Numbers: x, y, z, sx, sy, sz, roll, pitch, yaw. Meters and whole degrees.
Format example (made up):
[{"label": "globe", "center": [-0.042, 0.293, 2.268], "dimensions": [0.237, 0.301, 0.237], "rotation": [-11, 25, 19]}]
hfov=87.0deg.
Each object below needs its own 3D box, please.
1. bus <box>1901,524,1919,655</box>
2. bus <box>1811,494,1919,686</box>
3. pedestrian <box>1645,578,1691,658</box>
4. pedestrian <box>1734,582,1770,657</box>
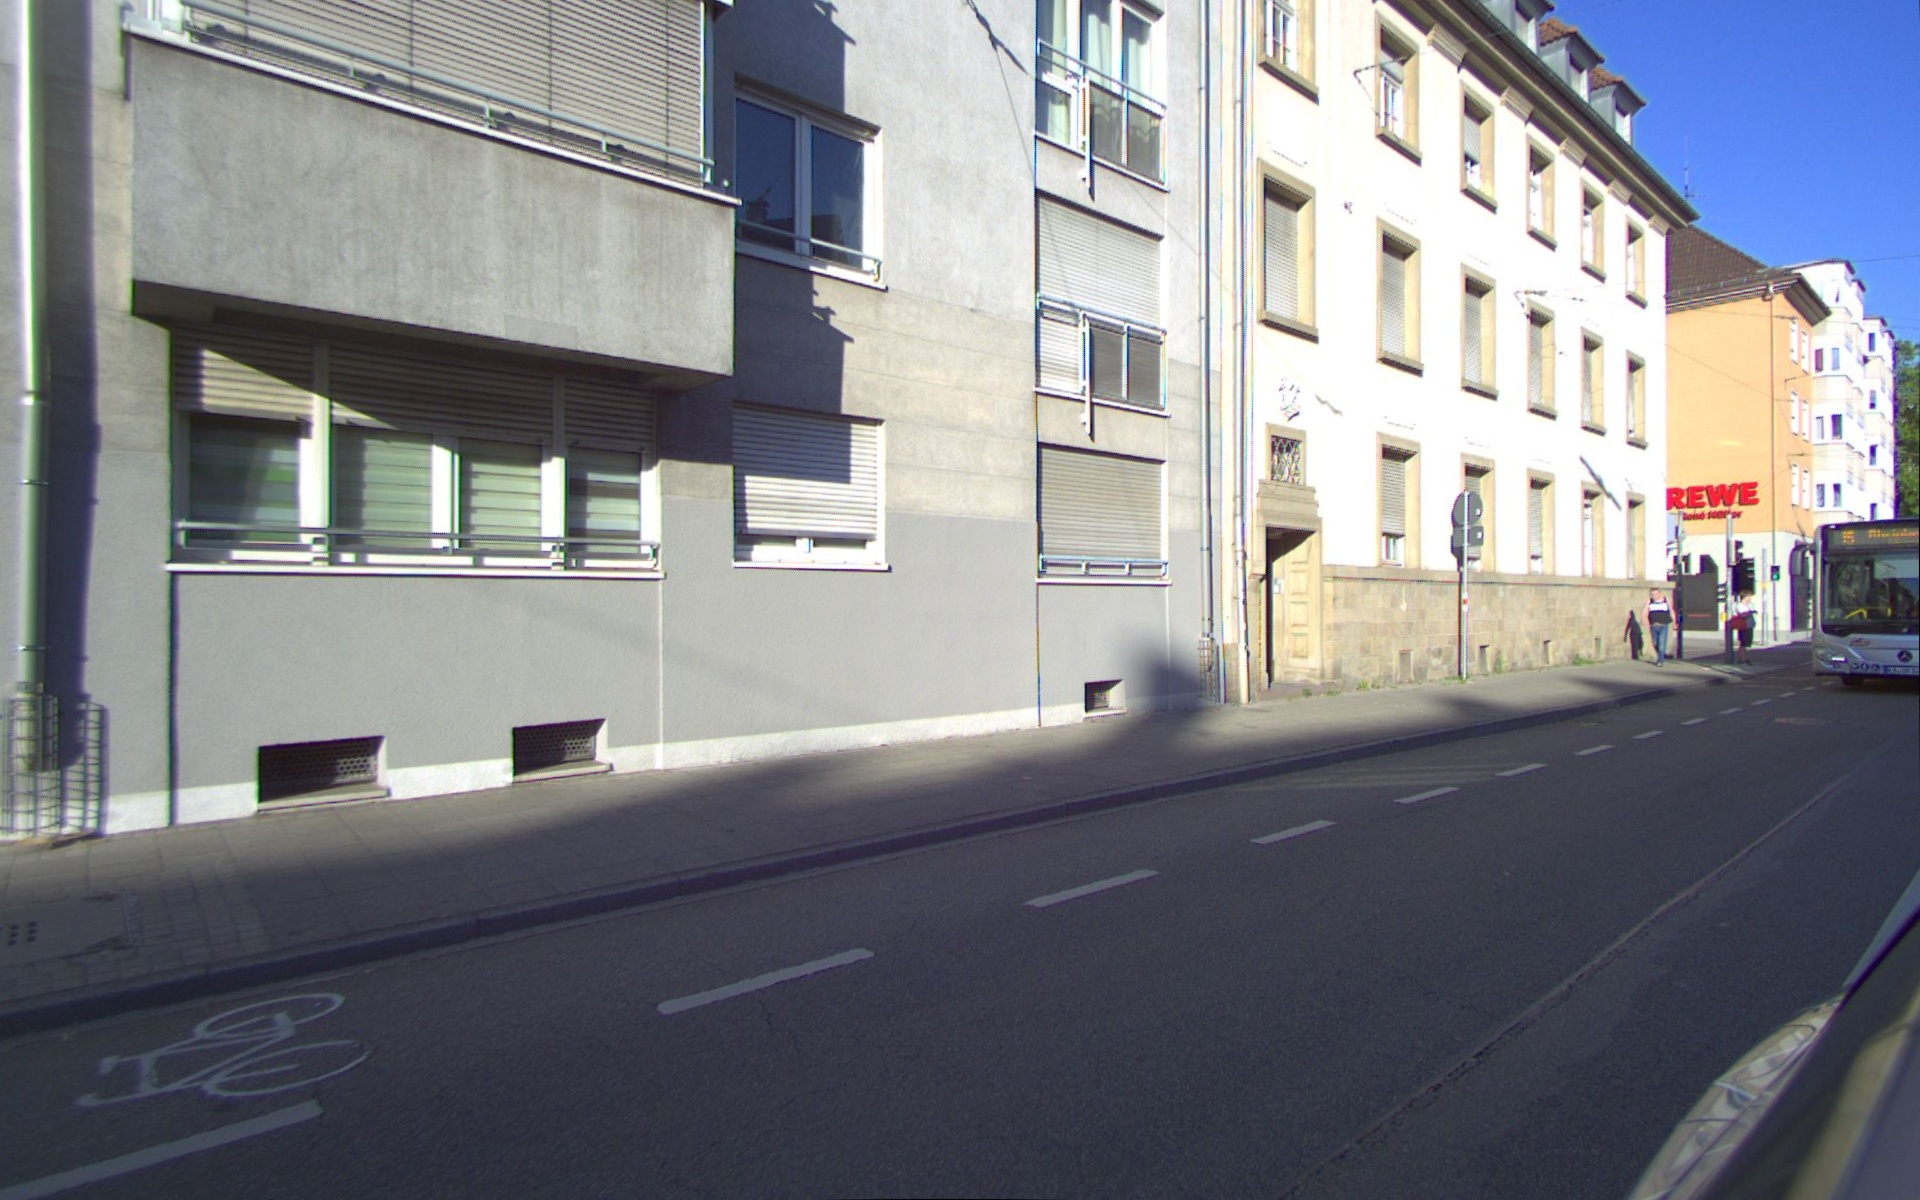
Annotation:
[{"label": "bus", "center": [27.439, -0.305, 26.662], "dimensions": [10.414, 3.116, 2.710], "rotation": [-1, 0, -41]}, {"label": "bus", "center": [19.582, -0.203, 19.876], "dimensions": [10.414, 3.116, 2.729], "rotation": [-1, 0, -41]}, {"label": "pedestrian", "center": [15.817, 0.388, 22.614], "dimensions": [0.549, 1.752, 0.648], "rotation": [0, 2, -40]}, {"label": "pedestrian", "center": [18.996, 0.475, 24.266], "dimensions": [0.438, 1.753, 0.527], "rotation": [3, 1, -42]}]
